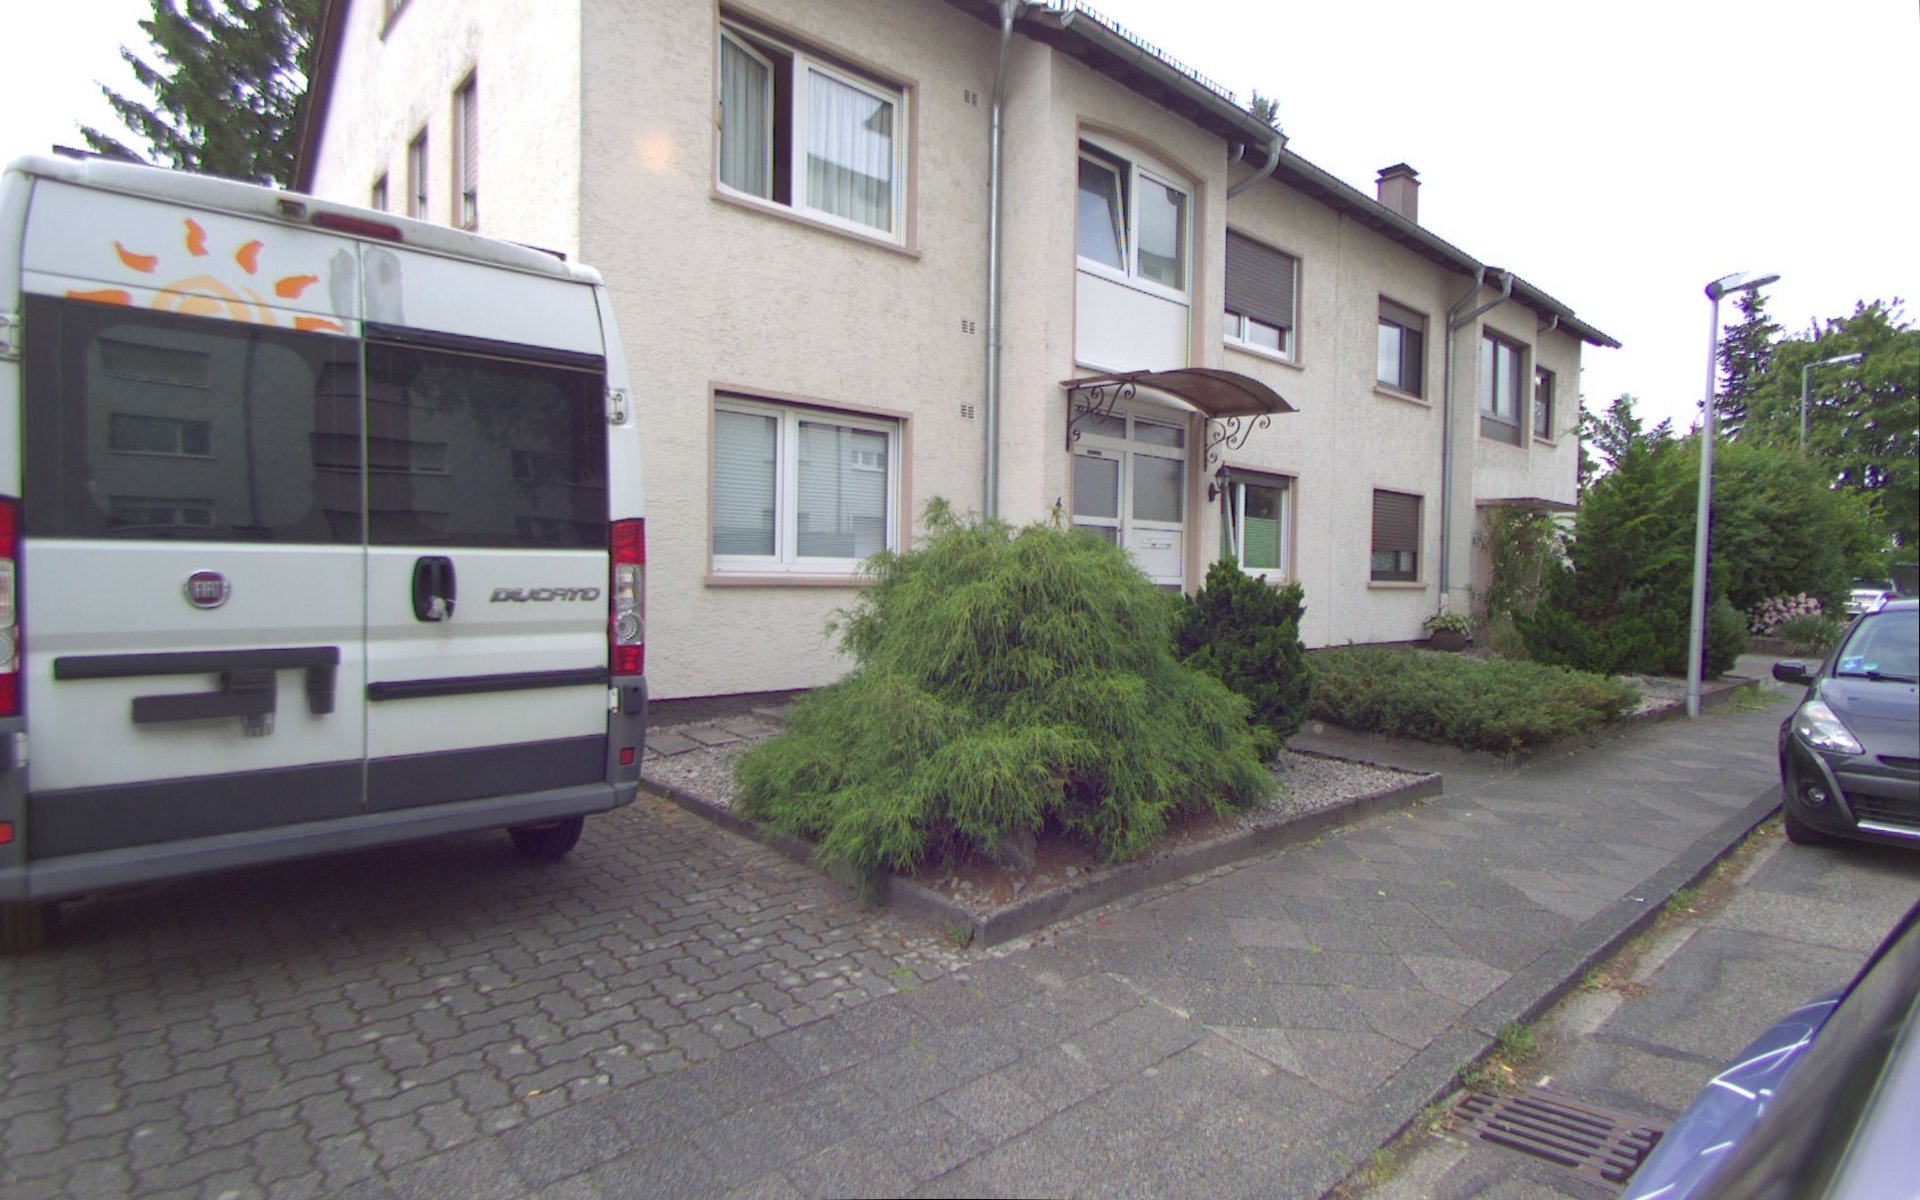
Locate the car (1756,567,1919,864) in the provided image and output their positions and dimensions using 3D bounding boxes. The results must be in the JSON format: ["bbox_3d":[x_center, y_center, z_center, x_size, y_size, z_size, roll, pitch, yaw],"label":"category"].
[{"bbox_3d":[6.427,0.557,6.278,4.122,1.476,1.831,-1,1,-44],"label":"car"}]

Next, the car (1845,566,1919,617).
[{"bbox_3d":[30.373,-0.334,33.238,3.936,1.484,1.702,-3,4,-45],"label":"car"}]

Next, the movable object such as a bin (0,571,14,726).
[{"bbox_3d":[-7.050,0.342,7.137,0.537,1.069,0.456,-1,4,-43],"label":"movable object such as a bin"}]

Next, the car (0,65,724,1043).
[{"bbox_3d":[-3.457,-0.251,5.248,2.199,2.573,5.098,0,3,-41],"label":"car"}]
